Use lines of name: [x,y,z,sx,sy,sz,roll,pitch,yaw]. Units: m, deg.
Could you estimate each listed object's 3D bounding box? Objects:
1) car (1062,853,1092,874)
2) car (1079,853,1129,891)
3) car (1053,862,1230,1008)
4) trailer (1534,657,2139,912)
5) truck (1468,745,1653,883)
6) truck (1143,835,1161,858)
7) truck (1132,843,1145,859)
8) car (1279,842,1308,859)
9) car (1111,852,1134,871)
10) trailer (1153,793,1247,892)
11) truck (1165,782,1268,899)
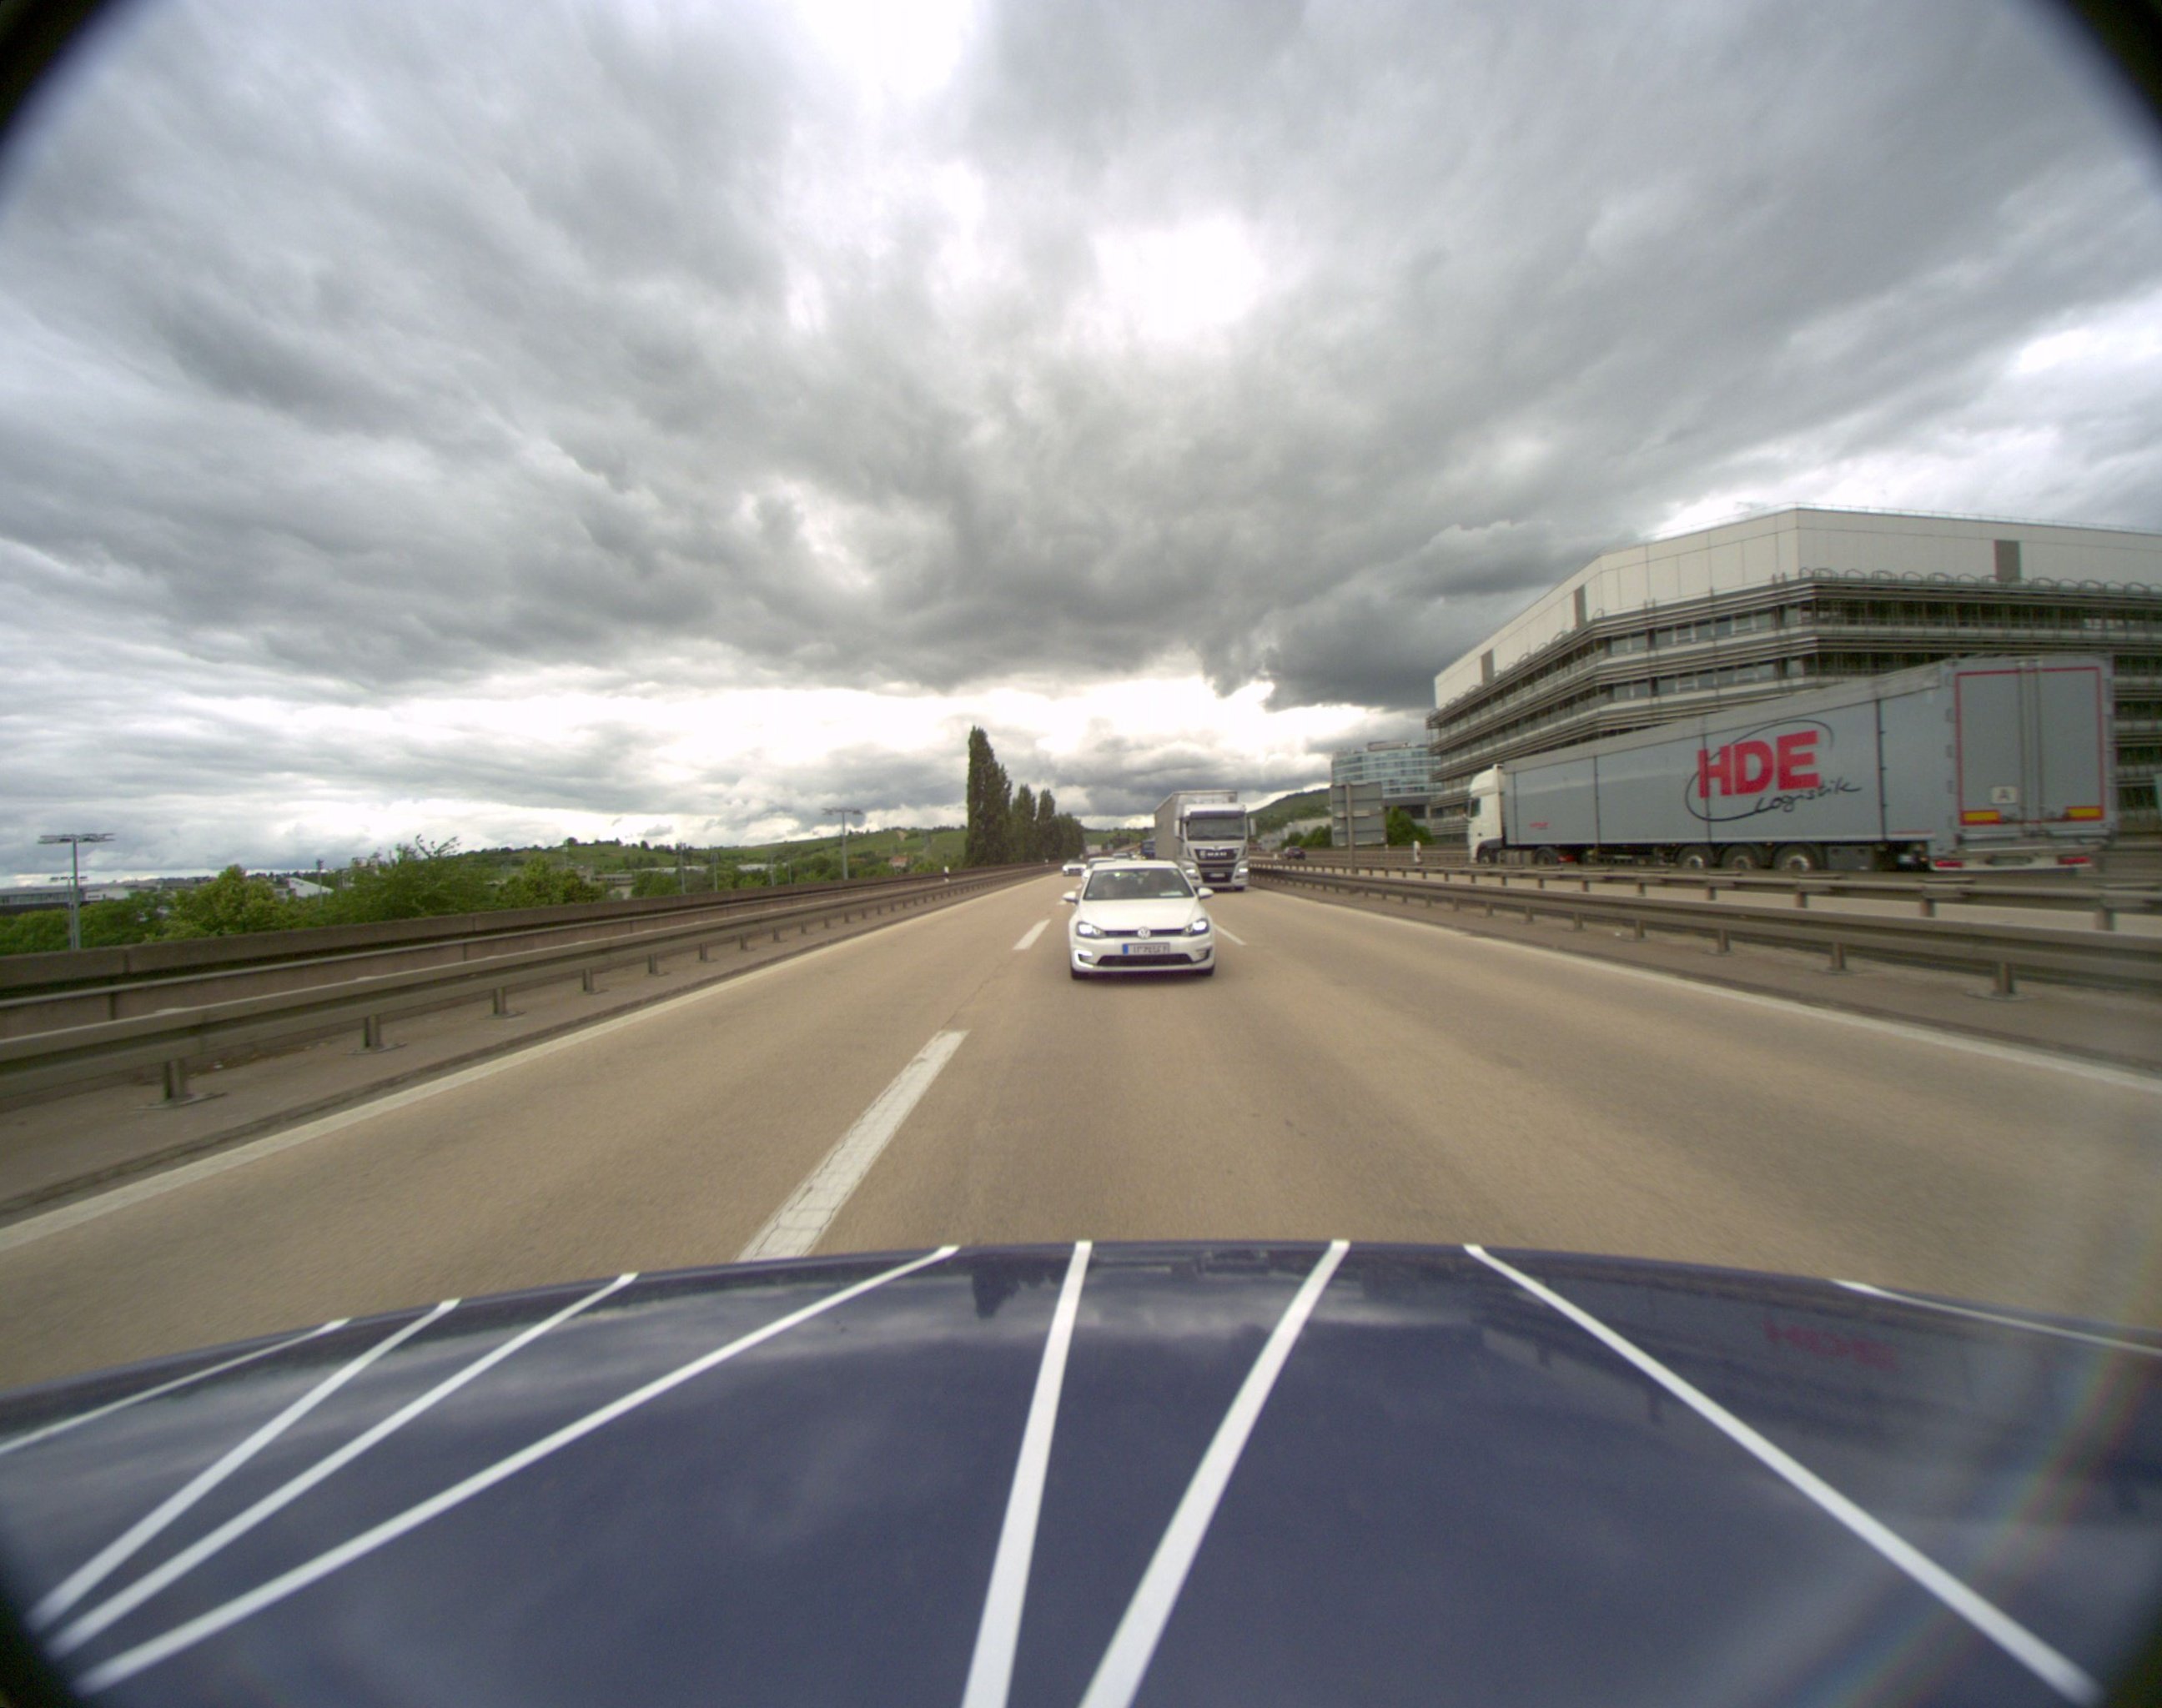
car: [-0.274,0.717,59.875,1.930,1.499,4.062,-3,1,6]
car: [1.097,0.777,34.681,1.930,1.499,4.062,-3,1,6]
car: [0.868,0.937,10.551,1.930,1.499,4.062,-2,1,6]
trailer: [15.631,-1.152,18.092,2.851,3.964,11.885,-2,0,2]
truck: [15.899,-1.210,25.738,2.778,4.055,5.646,-2,0,2]
truck: [10.218,-1.083,109.480,2.335,3.219,6.688,-2,1,6]
truck: [11.790,-0.651,156.097,2.335,3.219,6.688,-2,1,6]
car: [22.110,-0.396,79.069,1.687,1.641,4.359,-3,1,0]
car: [4.013,0.688,72.146,1.930,1.585,4.062,-3,1,6]
trailer: [5.584,-0.542,38.066,3.189,4.003,11.766,-4,0,3]
truck: [5.229,-0.513,30.361,3.142,4.014,5.689,-4,1,3]
